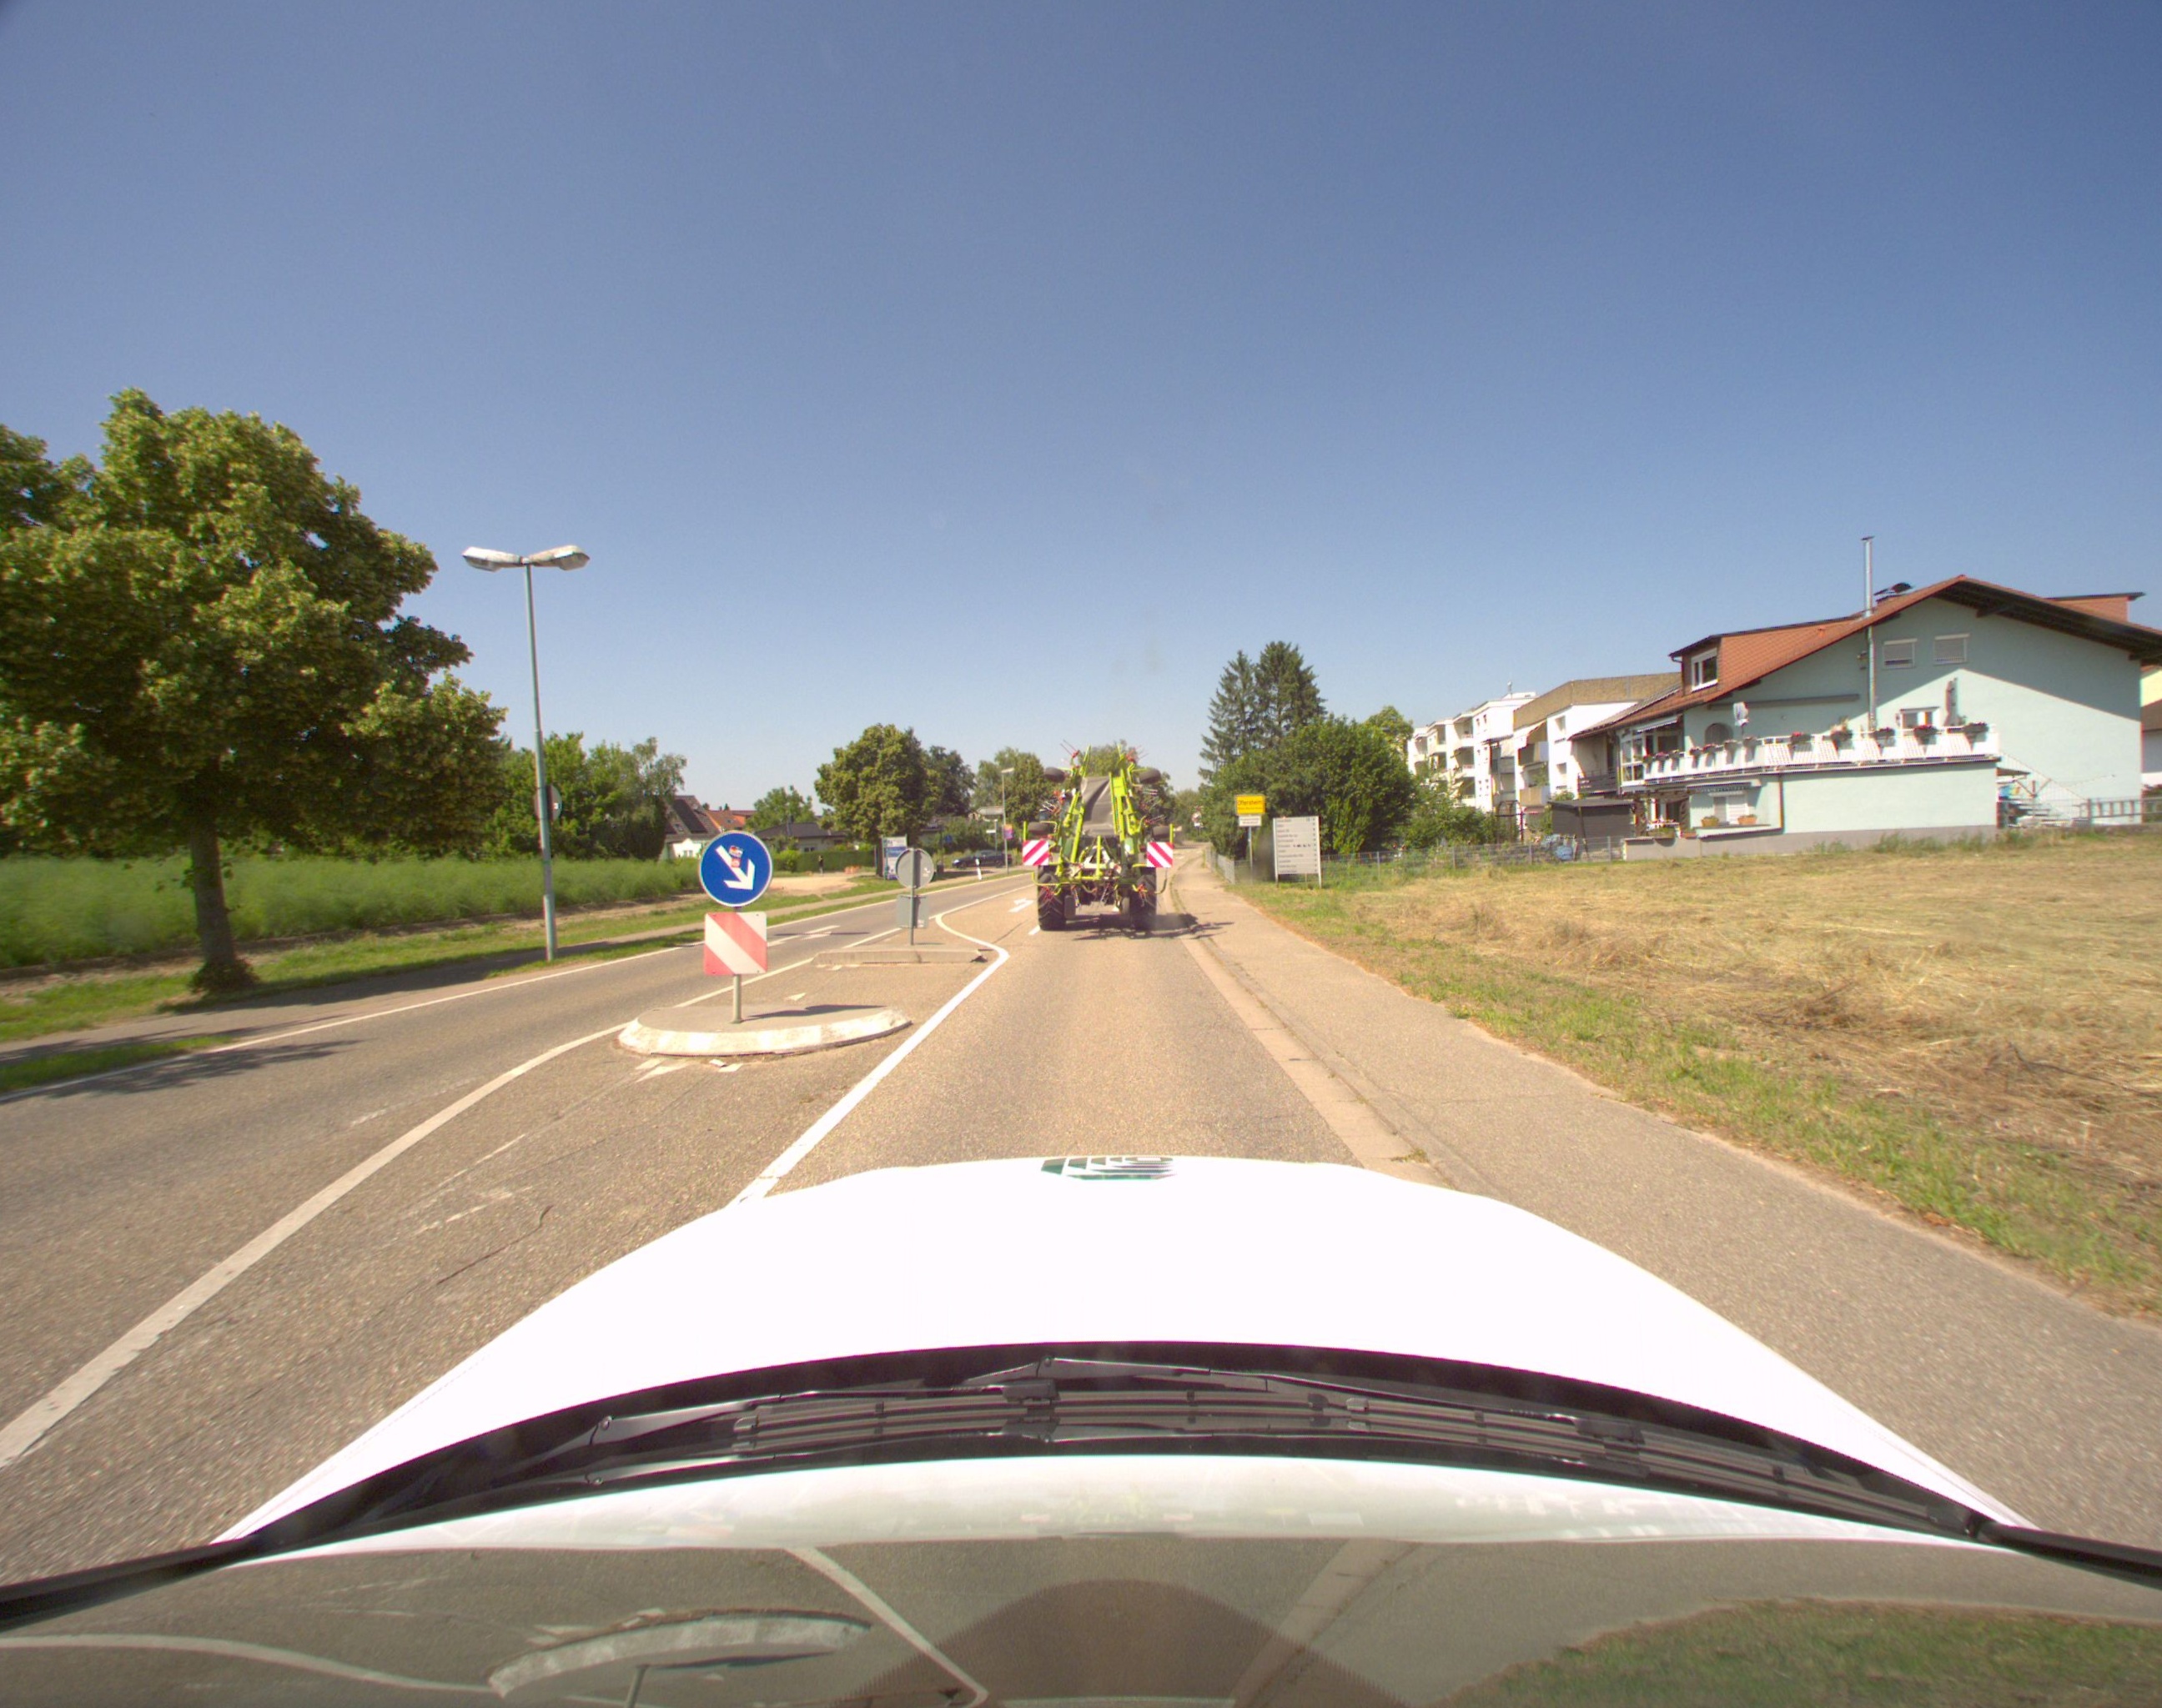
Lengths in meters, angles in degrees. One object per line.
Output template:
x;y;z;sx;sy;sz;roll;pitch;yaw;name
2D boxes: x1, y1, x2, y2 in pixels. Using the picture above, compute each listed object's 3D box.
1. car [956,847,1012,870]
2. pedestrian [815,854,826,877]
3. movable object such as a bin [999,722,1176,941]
-7.384;0.312;62.220;4.082;1.519;1.996;-3;0;-6;car
-20.086;0.886;62.776;0.675;1.716;0.548;-2;1;-15;pedestrian
0.320;-0.409;18.316;2.841;3.541;9.707;-2;0;2;movable object such as a bin
